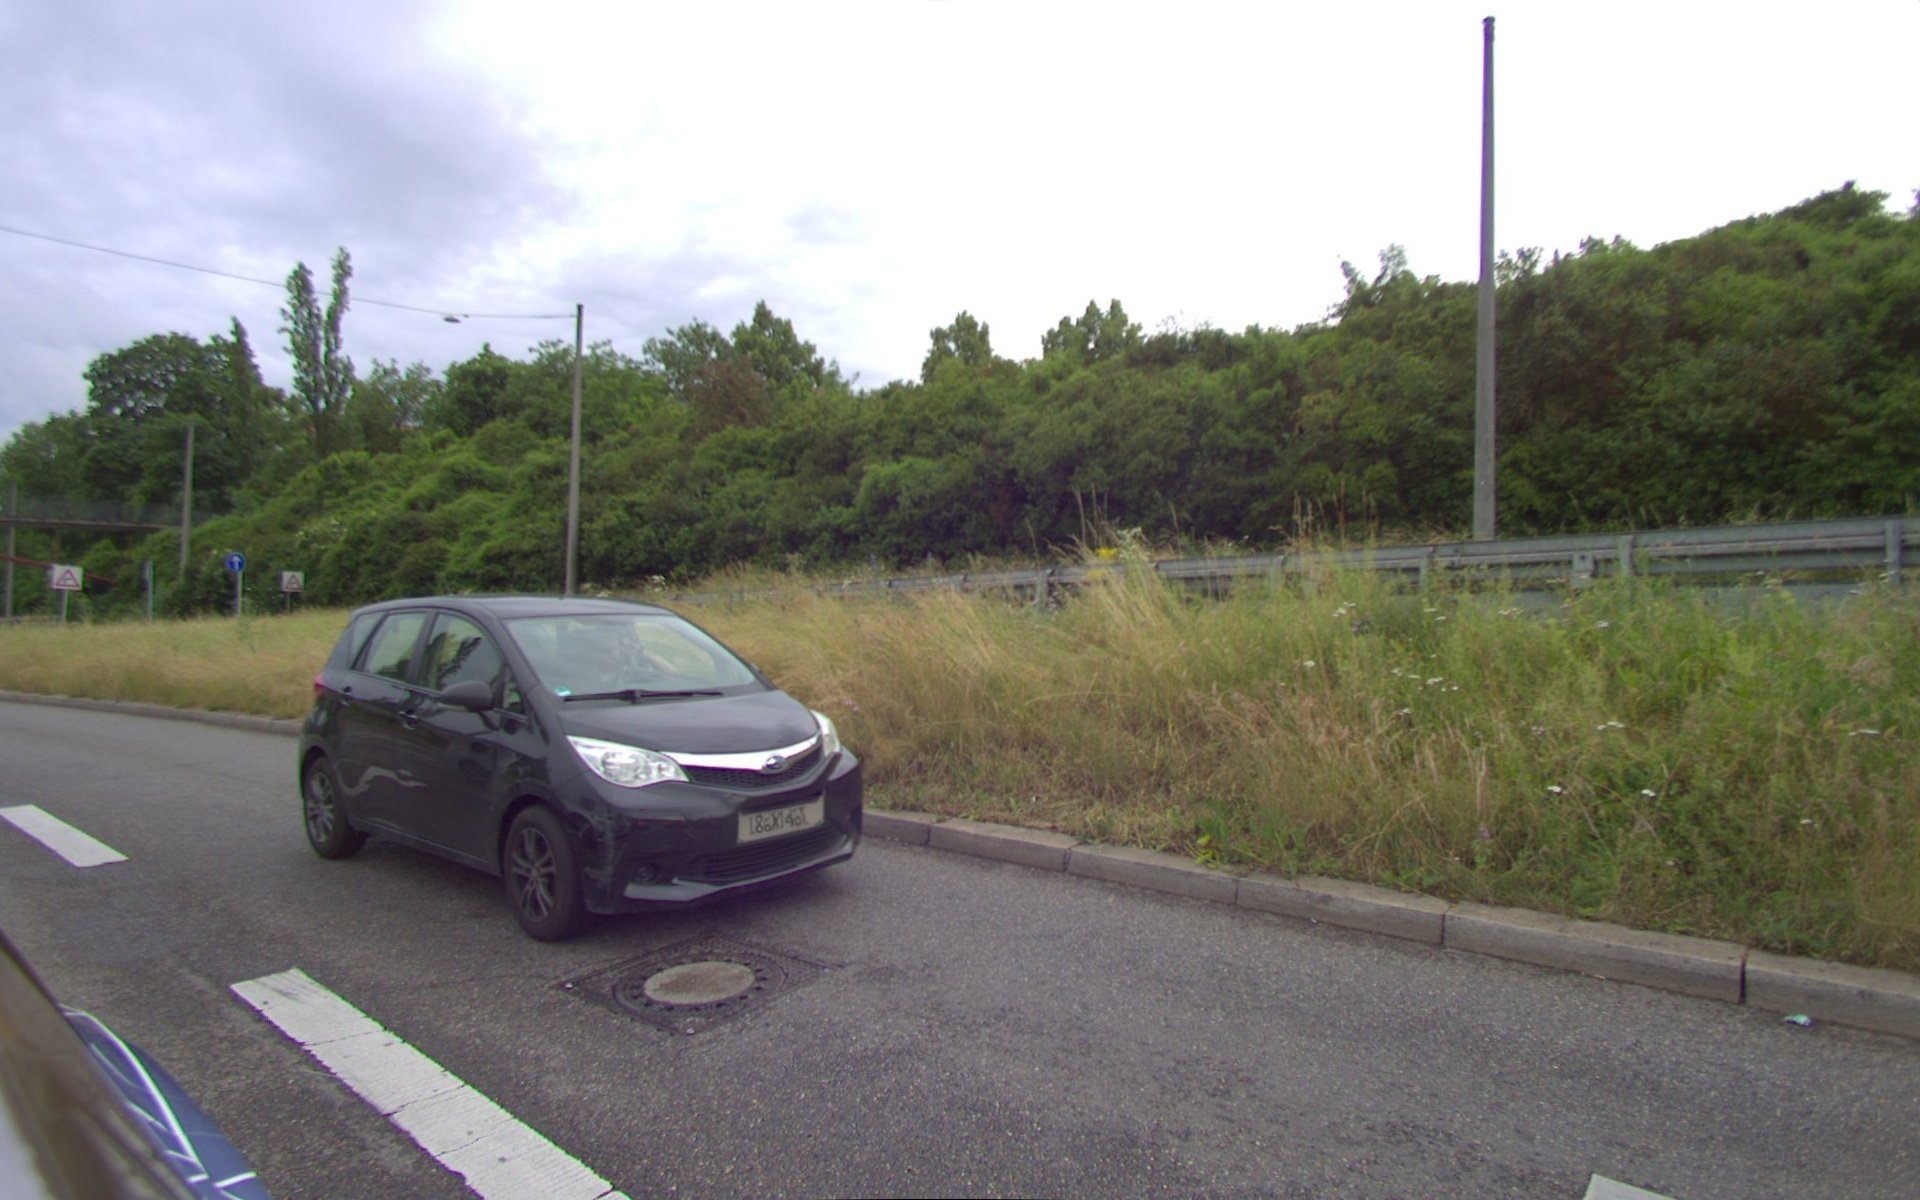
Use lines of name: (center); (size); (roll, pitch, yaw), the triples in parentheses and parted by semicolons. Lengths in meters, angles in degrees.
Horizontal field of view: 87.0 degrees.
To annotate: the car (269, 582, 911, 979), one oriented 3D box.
car: (-2.250, 0.730, 5.711); (3.773, 1.516, 1.626); (-2, 0, 38)
